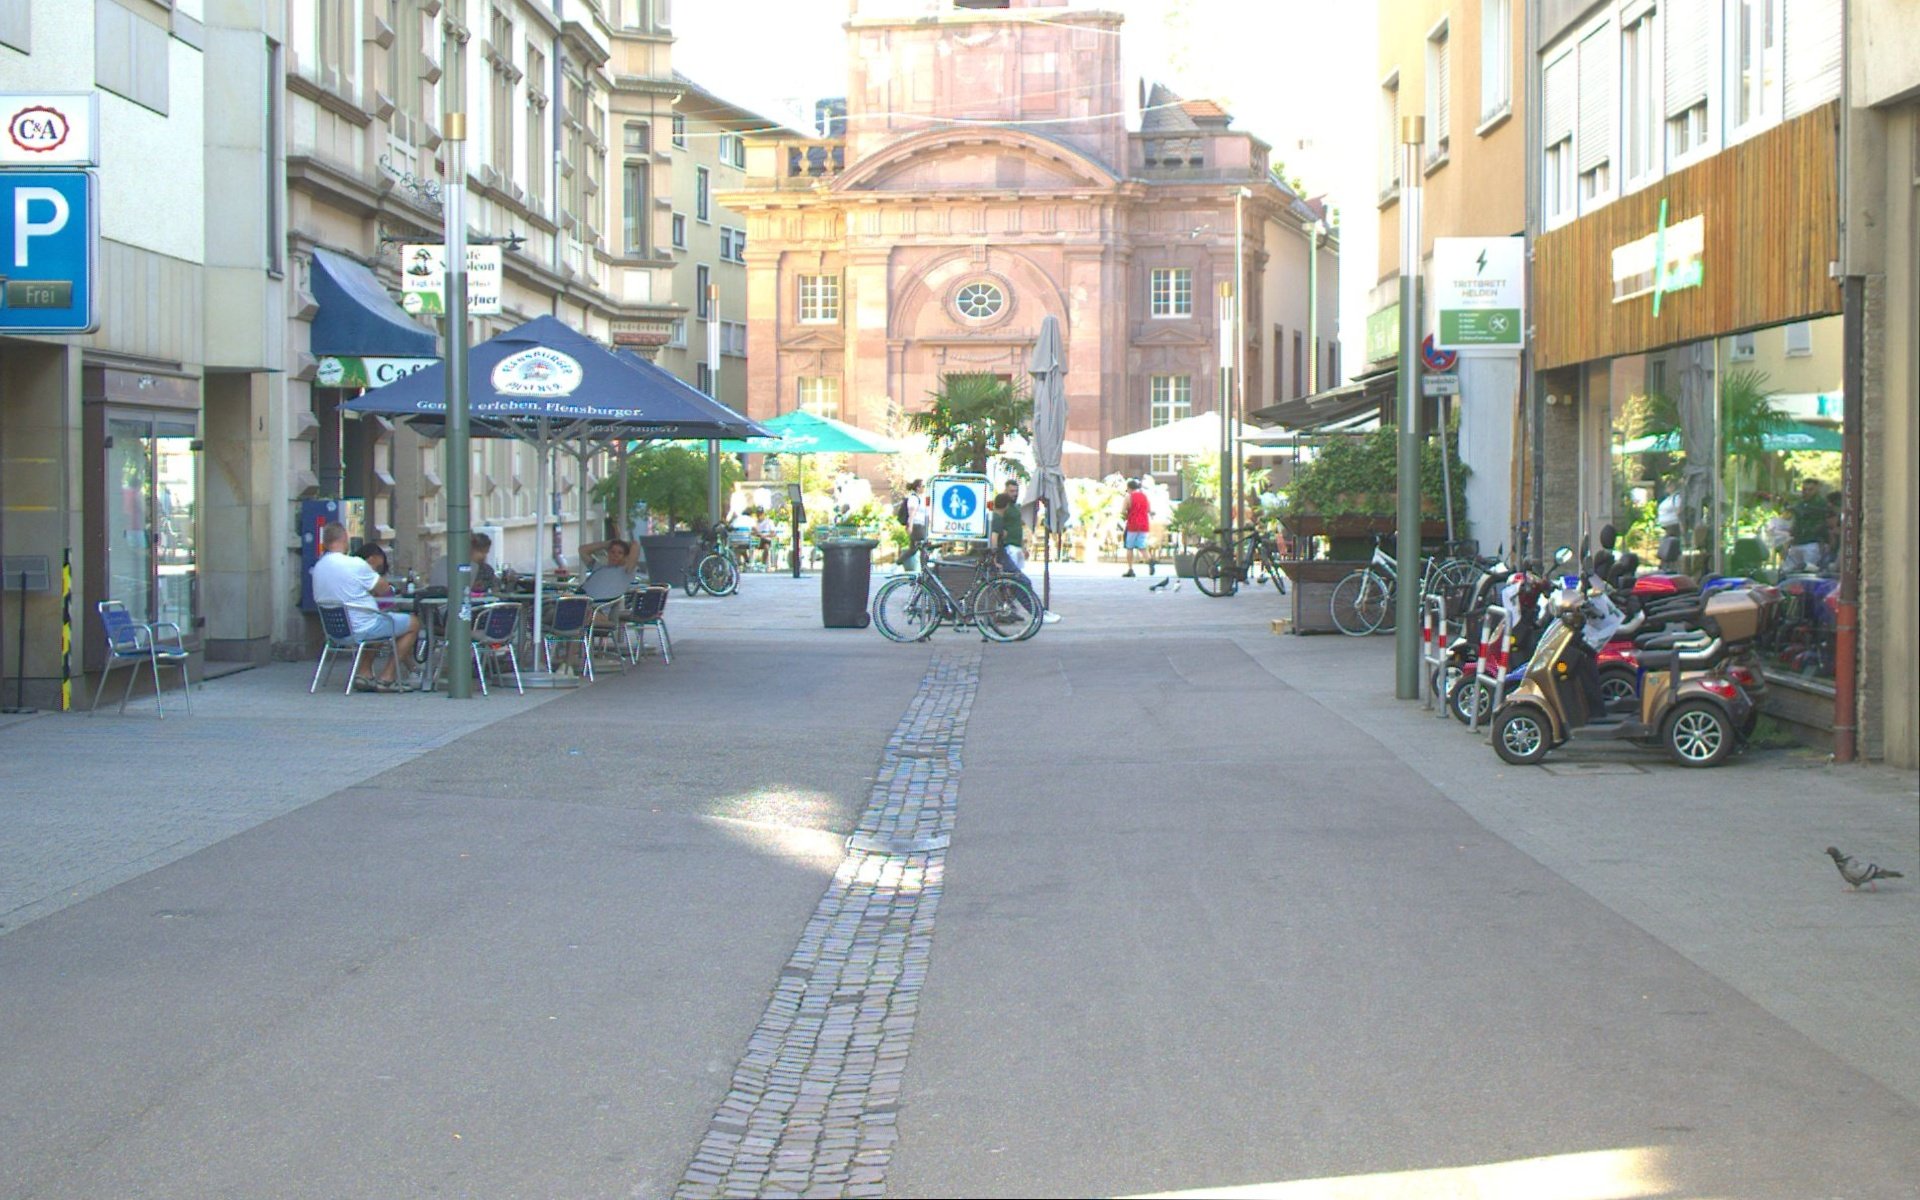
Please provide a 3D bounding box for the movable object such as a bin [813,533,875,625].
[{"bbox_3d":[-1.359,-0.250,40.276,0.721,1.071,0.374,0,2,0],"label":"movable object such as a bin"}]

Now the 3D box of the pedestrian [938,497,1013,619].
[{"bbox_3d":[0.193,-0.515,41.461,0.884,1.459,0.731,0,2,2],"label":"pedestrian"}]

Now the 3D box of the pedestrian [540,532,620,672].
[{"bbox_3d":[-3.346,0.015,30.227,0.692,1.211,0.583,0,2,-7],"label":"pedestrian"}]

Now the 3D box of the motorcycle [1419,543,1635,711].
[{"bbox_3d":[4.049,0.187,24.543,1.485,1.177,0.412,0,1,16],"label":"motorcycle"}]

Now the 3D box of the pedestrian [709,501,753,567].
[{"bbox_3d":[-4.232,-1.219,63.540,0.700,1.213,0.719,0,2,7],"label":"pedestrian"}]

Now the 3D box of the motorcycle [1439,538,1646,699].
[{"bbox_3d":[4.331,0.131,25.553,1.485,1.177,0.412,0,1,16],"label":"motorcycle"}]

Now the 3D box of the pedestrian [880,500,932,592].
[{"bbox_3d":[-0.916,-0.921,58.594,0.784,1.550,0.535,1,2,11],"label":"pedestrian"}]

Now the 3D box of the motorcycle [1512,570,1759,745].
[{"bbox_3d":[4.251,0.352,21.642,1.485,1.072,0.412,0,1,19],"label":"motorcycle"}]

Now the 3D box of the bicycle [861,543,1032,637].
[{"bbox_3d":[-0.148,-0.111,36.980,1.823,1.001,0.381,0,2,-2],"label":"bicycle"}]

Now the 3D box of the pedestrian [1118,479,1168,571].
[{"bbox_3d":[3.285,-1.347,61.742,0.611,1.635,0.658,-1,2,-32],"label":"pedestrian"}]

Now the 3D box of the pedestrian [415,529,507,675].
[{"bbox_3d":[-4.287,0.006,29.590,0.765,1.229,0.831,0,2,-7],"label":"pedestrian"}]

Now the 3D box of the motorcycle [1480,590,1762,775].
[{"bbox_3d":[3.827,0.466,19.914,1.565,1.038,0.372,0,1,19],"label":"motorcycle"}]

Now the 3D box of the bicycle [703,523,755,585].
[{"bbox_3d":[-3.305,-0.672,49.322,0.456,0.847,2.146,0,2,4],"label":"bicycle"}]

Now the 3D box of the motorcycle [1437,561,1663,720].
[{"bbox_3d":[4.054,0.269,23.624,1.485,1.072,0.412,0,1,19],"label":"motorcycle"}]

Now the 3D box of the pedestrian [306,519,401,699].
[{"bbox_3d":[-4.717,0.060,26.713,0.708,1.363,0.720,0,2,-11],"label":"pedestrian"}]

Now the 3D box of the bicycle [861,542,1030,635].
[{"bbox_3d":[-0.165,-0.125,37.373,1.823,1.001,0.381,0,2,-2],"label":"bicycle"}]

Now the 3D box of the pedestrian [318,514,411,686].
[{"bbox_3d":[-4.819,-0.007,27.796,0.717,1.363,0.710,0,2,-11],"label":"pedestrian"}]

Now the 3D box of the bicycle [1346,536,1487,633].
[{"bbox_3d":[4.848,-0.167,36.490,1.464,1.001,0.573,0,2,8],"label":"bicycle"}]

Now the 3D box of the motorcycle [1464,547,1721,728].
[{"bbox_3d":[4.204,0.241,22.850,1.626,1.171,0.480,0,1,19],"label":"motorcycle"}]

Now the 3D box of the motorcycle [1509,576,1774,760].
[{"bbox_3d":[4.091,0.399,20.646,1.518,1.072,0.412,0,1,19],"label":"motorcycle"}]

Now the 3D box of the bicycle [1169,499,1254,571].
[{"bbox_3d":[4.598,-1.196,62.699,1.586,1.303,0.366,-1,2,-28],"label":"bicycle"}]
